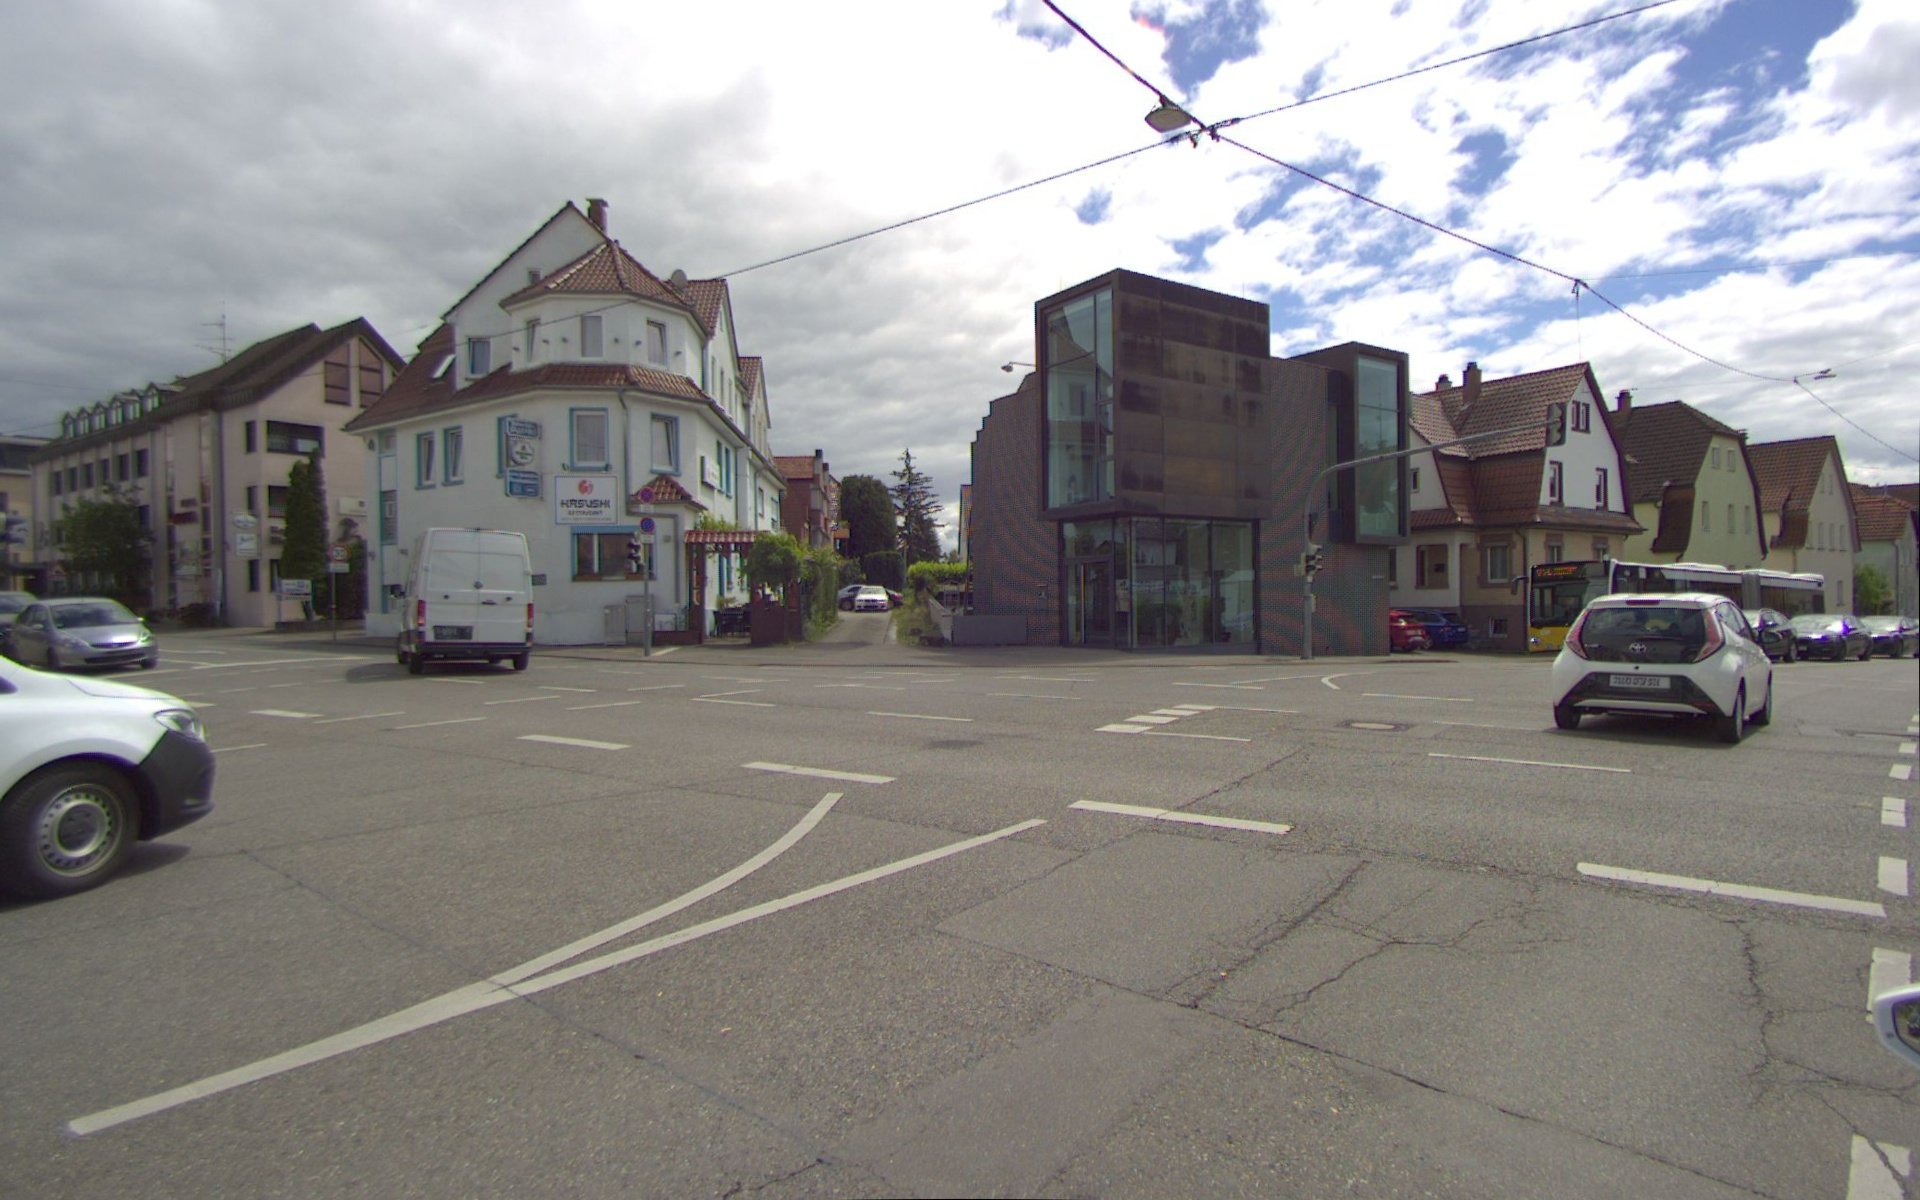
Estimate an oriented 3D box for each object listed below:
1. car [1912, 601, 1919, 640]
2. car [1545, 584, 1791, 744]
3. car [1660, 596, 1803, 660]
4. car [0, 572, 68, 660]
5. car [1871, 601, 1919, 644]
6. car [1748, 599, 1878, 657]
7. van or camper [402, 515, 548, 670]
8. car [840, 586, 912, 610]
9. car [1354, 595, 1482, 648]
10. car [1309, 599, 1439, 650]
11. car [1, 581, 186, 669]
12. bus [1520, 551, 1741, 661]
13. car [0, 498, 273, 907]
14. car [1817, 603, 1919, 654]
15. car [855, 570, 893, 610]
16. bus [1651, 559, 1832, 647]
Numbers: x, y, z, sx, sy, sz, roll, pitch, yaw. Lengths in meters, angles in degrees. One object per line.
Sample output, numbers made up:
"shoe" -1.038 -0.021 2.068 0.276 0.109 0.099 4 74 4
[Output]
"car" 52.876 1.096 53.688 3.956 2.041 1.982 0 1 -33
"car" 7.955 0.602 11.175 1.720 1.480 3.510 0 0 44
"car" 21.794 0.751 28.359 3.957 1.662 1.982 0 1 -33
"car" -23.849 0.344 24.638 3.931 2.041 1.995 1 1 33
"car" 47.124 1.068 49.643 3.953 2.041 1.984 0 1 -30
"car" 26.495 0.833 31.182 4.138 1.662 1.982 0 1 -33
"van or camper" -9.757 -0.167 19.923 2.090 2.621 5.597 1 1 -31
"car" -4.772 -0.132 57.365 3.921 1.328 1.534 0 1 0
"car" 17.456 0.771 38.423 1.981 1.707 3.958 0 3 -36
"car" 15.078 0.859 36.753 1.981 1.662 3.958 0 1 -36
"car" -18.493 0.473 21.410 3.932 1.706 1.994 1 1 33
"bus" 21.634 0.170 32.190 9.098 3.101 2.760 0 1 -35
"car" -5.464 0.461 3.900 1.786 1.836 4.418 0 0 19
"car" 31.986 0.952 35.164 3.957 1.662 1.982 0 1 -33
"car" -4.599 -0.525 53.448 1.962 2.041 3.996 0 0 -6
"bus" 29.358 0.099 37.553 9.098 2.954 2.760 0 1 -35
